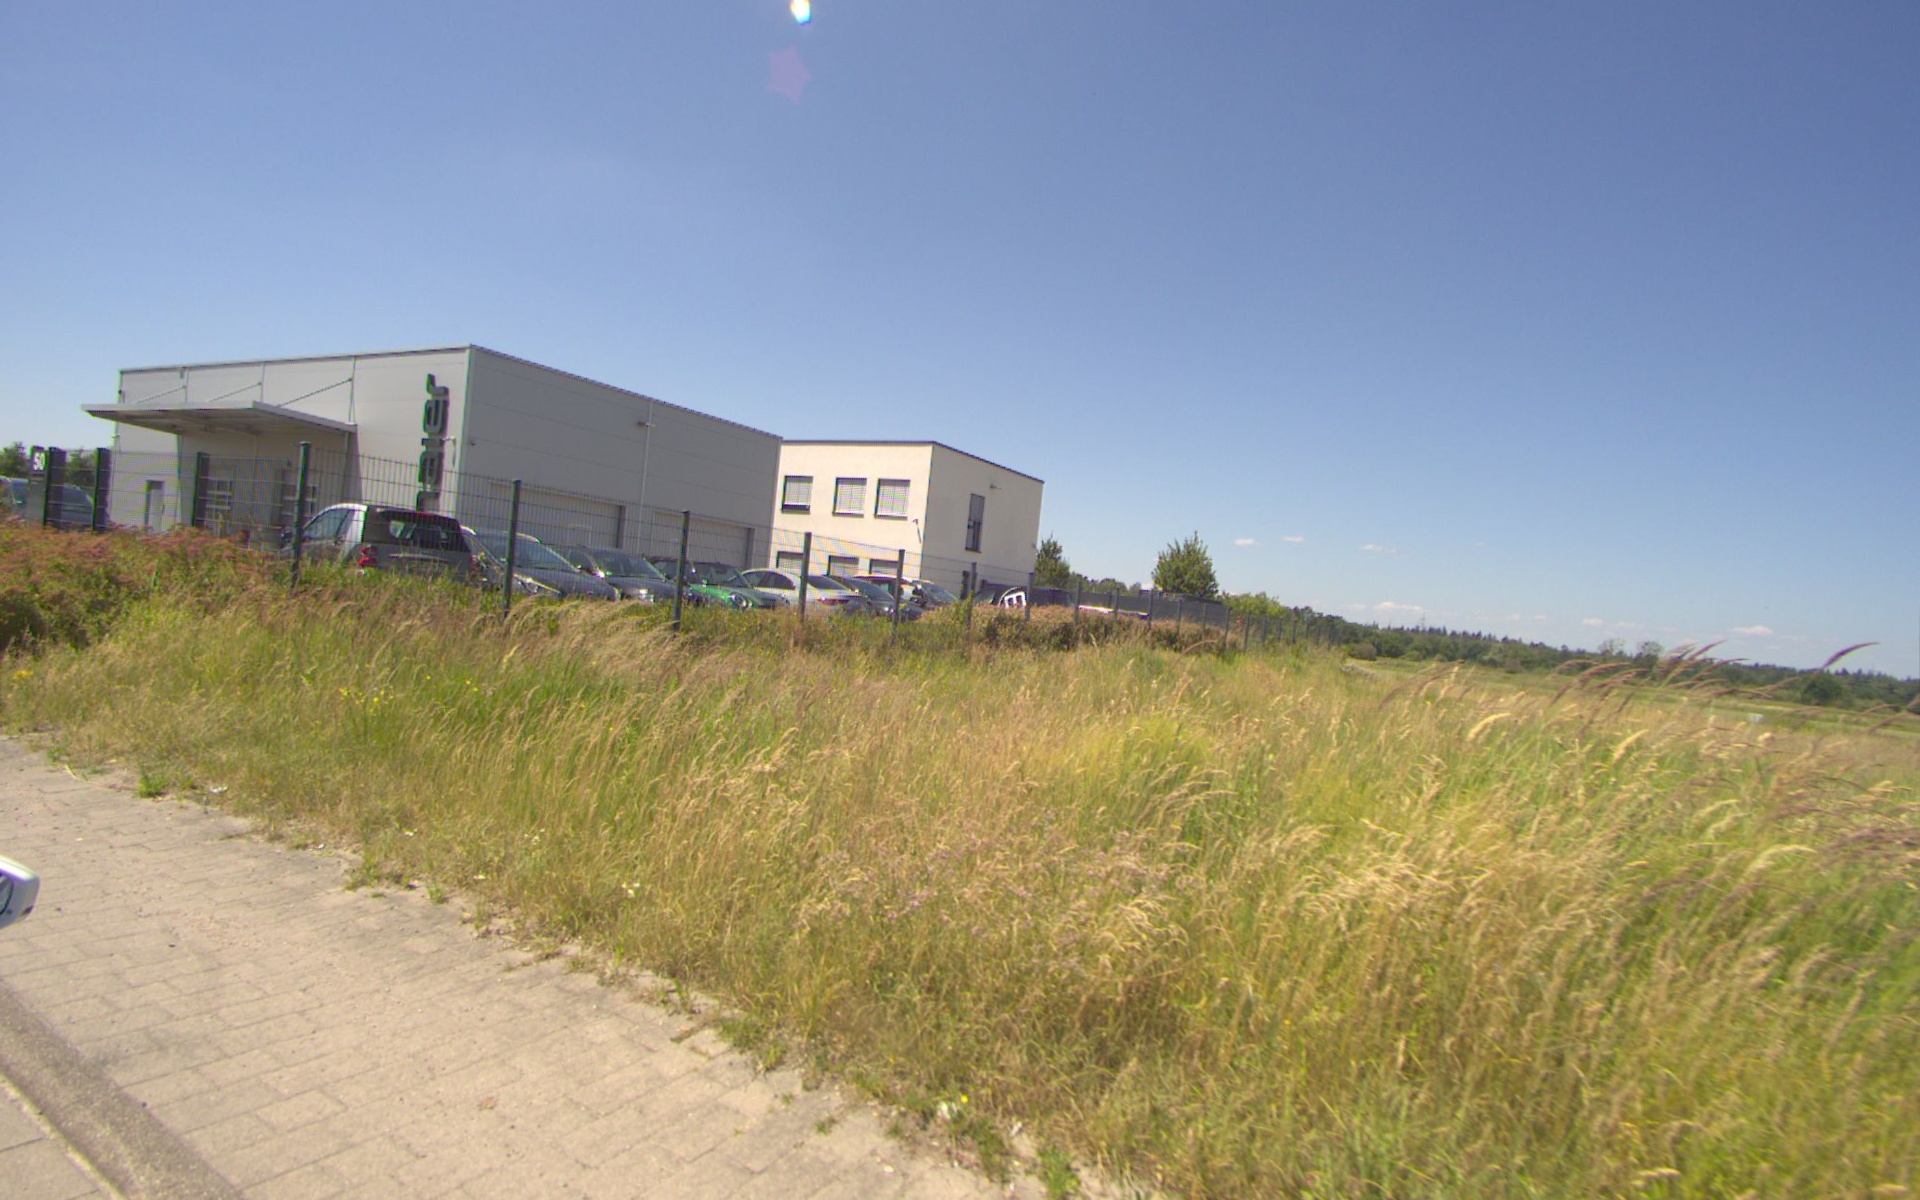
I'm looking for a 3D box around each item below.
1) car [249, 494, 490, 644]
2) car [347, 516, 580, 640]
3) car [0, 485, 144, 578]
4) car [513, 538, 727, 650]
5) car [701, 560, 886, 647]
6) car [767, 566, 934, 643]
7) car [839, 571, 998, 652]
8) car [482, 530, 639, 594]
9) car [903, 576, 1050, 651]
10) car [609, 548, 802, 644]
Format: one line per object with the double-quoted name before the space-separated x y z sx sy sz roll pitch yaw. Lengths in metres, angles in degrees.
"car" -7.407 -0.390 12.598 2.618 1.594 1.468 6 1 32
"car" -7.503 -0.343 15.152 3.276 1.515 1.516 6 0 31
"car" -18.993 -1.472 21.088 3.517 1.572 1.810 7 2 32
"car" -5.681 -0.106 16.744 3.276 1.515 1.516 6 0 31
"car" -3.438 0.056 20.623 3.481 1.415 1.516 6 0 31
"car" -2.640 0.106 24.000 3.721 1.448 1.516 6 0 31
"car" -1.086 0.284 25.696 3.721 1.654 1.516 6 1 31
"car" -11.681 -1.071 29.642 1.676 1.397 3.990 9 2 31
"car" 0.499 0.407 30.944 4.057 1.870 1.750 6 1 31
"car" -4.699 -0.083 18.508 3.276 1.430 1.459 6 0 31
